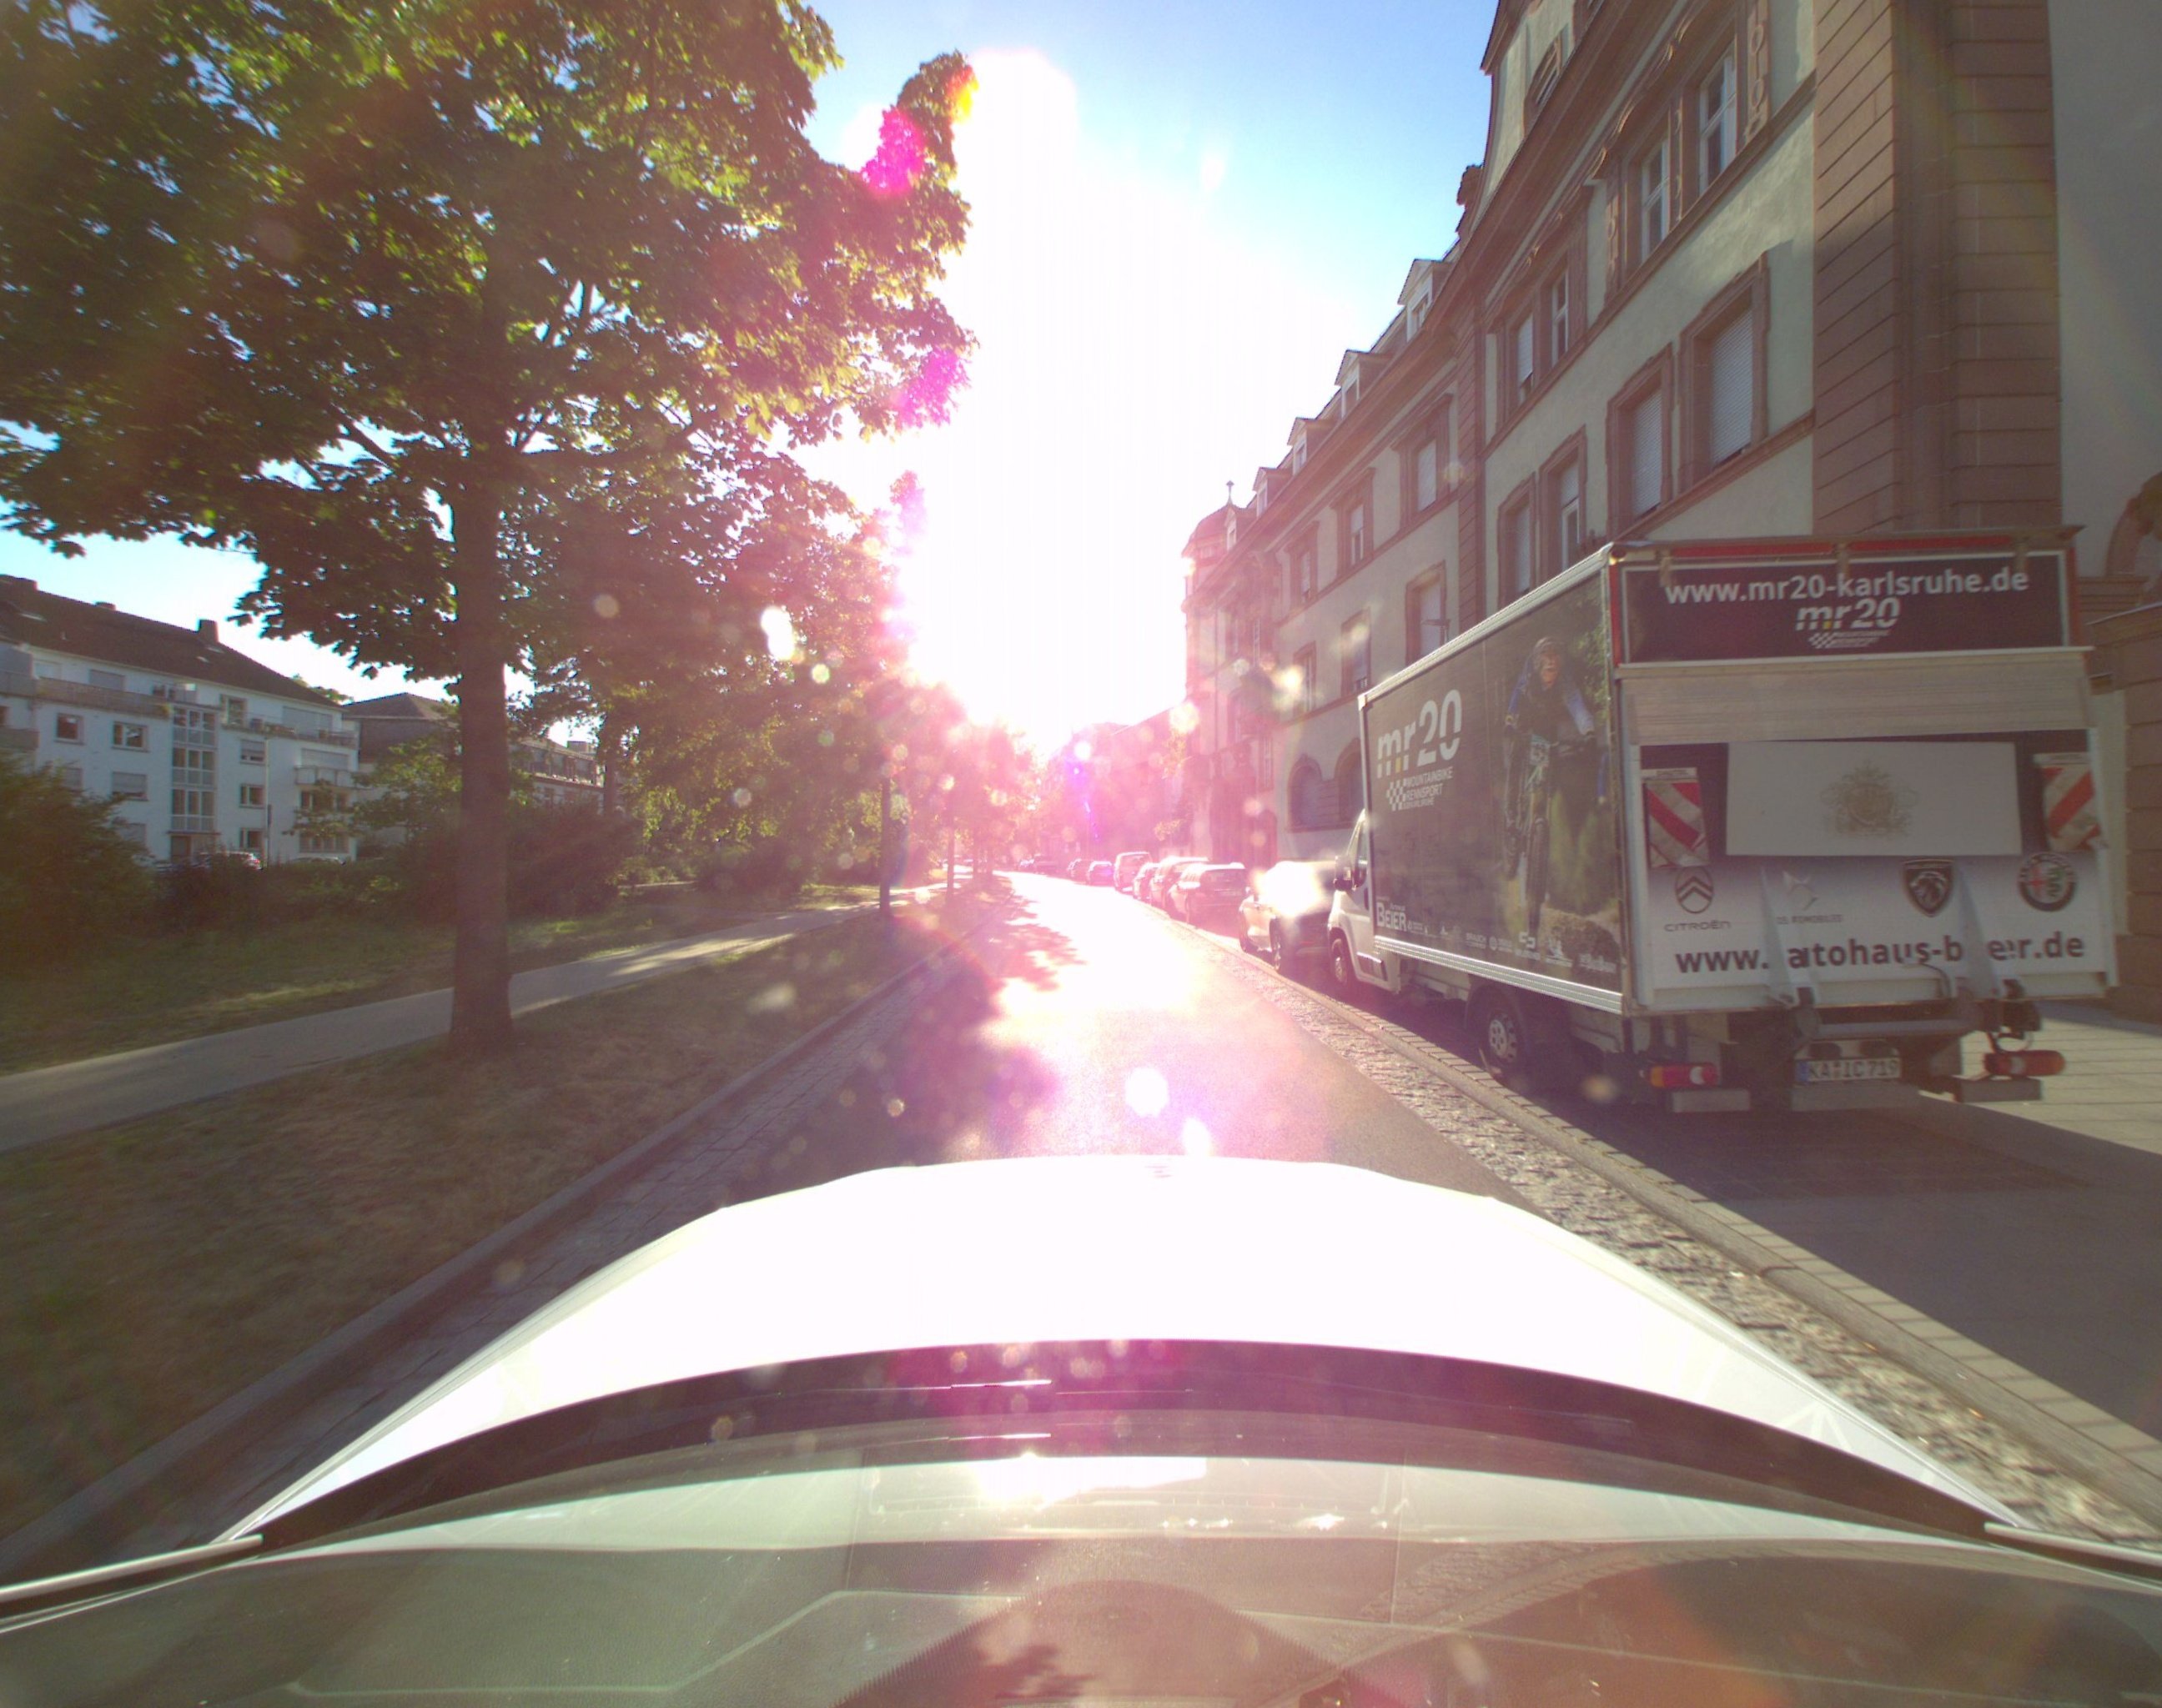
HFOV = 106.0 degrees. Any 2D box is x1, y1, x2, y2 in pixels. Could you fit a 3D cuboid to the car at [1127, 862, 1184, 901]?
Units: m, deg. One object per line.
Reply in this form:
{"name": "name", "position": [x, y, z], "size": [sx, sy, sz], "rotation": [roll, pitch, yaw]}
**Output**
{"name": "car", "position": [2.852, 1.021, 32.117], "size": [1.675, 1.403, 4.195], "rotation": [-1, 0, -3]}

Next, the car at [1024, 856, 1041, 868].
{"name": "car", "position": [-6.292, 0.993, 104.488], "size": [1.692, 1.440, 3.536], "rotation": [0, 0, -12]}

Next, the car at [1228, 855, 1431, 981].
{"name": "car", "position": [3.521, 0.827, 12.473], "size": [1.762, 1.530, 4.573], "rotation": [-1, -1, 1]}

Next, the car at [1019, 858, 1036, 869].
{"name": "car", "position": [-7.240, 1.250, 109.137], "size": [1.692, 1.440, 4.087], "rotation": [0, 0, -12]}

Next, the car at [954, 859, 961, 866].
{"name": "car", "position": [-35.220, 2.438, 231.517], "size": [1.794, 1.999, 3.986], "rotation": [1, -1, -10]}

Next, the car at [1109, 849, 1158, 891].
{"name": "car", "position": [2.678, 0.837, 42.555], "size": [1.988, 1.966, 4.845], "rotation": [-3, -1, -2]}

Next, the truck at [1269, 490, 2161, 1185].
{"name": "truck", "position": [3.661, -0.077, 6.783], "size": [2.616, 3.121, 6.084], "rotation": [-2, -1, -1]}

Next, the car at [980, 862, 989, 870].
{"name": "car", "position": [-19.800, 2.472, 167.029], "size": [1.792, 1.510, 3.989], "rotation": [1, -1, -8]}

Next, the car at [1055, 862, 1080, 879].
{"name": "car", "position": [-1.187, 1.381, 70.250], "size": [1.722, 1.421, 3.897], "rotation": [-1, 0, -7]}

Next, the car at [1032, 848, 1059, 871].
{"name": "car", "position": [-4.124, 0.634, 93.491], "size": [2.212, 2.530, 6.125], "rotation": [-2, 0, -10]}

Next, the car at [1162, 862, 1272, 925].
{"name": "car", "position": [3.411, 0.944, 21.292], "size": [1.867, 1.436, 4.516], "rotation": [-1, -1, -3]}

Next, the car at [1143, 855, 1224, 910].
{"name": "car", "position": [3.247, 0.872, 26.625], "size": [1.812, 1.602, 4.186], "rotation": [-1, -1, -4]}

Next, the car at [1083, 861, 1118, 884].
{"name": "car", "position": [1.241, 1.192, 54.556], "size": [1.745, 1.466, 4.467], "rotation": [0, 0, -6]}

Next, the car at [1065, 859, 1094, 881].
{"name": "car", "position": [-0.181, 1.212, 64.710], "size": [1.723, 1.669, 4.102], "rotation": [-1, 0, -8]}

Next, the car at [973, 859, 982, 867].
{"name": "car", "position": [-22.867, 1.900, 180.325], "size": [1.794, 1.724, 3.986], "rotation": [1, -1, -10]}
